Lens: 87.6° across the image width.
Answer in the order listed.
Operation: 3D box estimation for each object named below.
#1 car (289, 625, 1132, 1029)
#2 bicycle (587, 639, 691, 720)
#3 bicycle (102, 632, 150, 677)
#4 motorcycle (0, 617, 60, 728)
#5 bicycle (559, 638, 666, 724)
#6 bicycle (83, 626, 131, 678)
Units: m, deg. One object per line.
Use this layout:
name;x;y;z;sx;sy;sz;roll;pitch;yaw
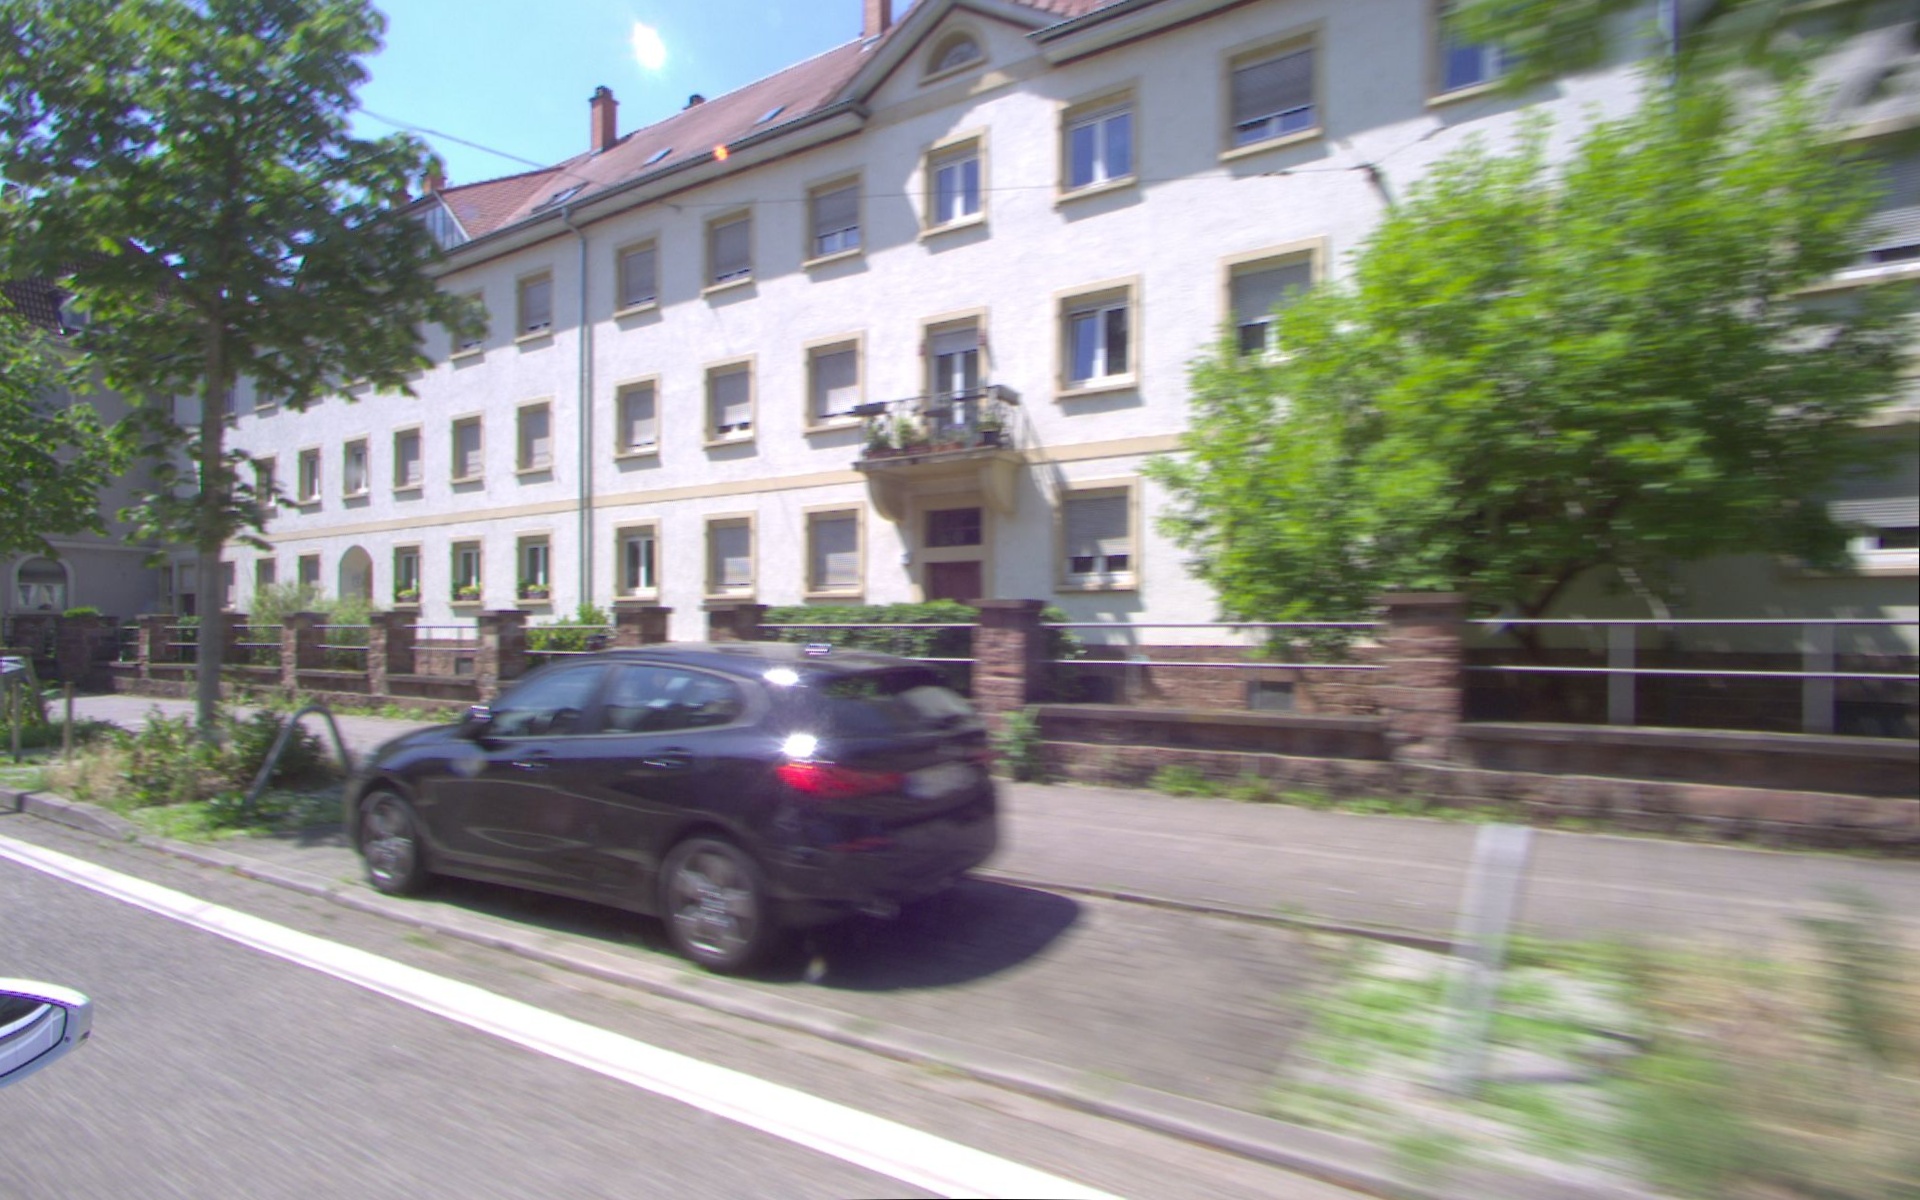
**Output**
car;-1.606;0.888;5.677;4.789;1.445;1.767;0;-1;30
bicycle;-4.757;1.143;14.785;1.782;1.117;0.497;-1;0;35
bicycle;-20.595;1.339;24.719;1.542;1.070;0.458;0;0;33
motorcycle;-14.503;1.015;14.301;2.278;1.560;0.868;1;-1;-15
bicycle;-4.897;1.100;14.062;1.782;1.117;0.497;-1;0;35
bicycle;-20.792;1.250;24.398;1.542;1.207;0.458;0;0;33
